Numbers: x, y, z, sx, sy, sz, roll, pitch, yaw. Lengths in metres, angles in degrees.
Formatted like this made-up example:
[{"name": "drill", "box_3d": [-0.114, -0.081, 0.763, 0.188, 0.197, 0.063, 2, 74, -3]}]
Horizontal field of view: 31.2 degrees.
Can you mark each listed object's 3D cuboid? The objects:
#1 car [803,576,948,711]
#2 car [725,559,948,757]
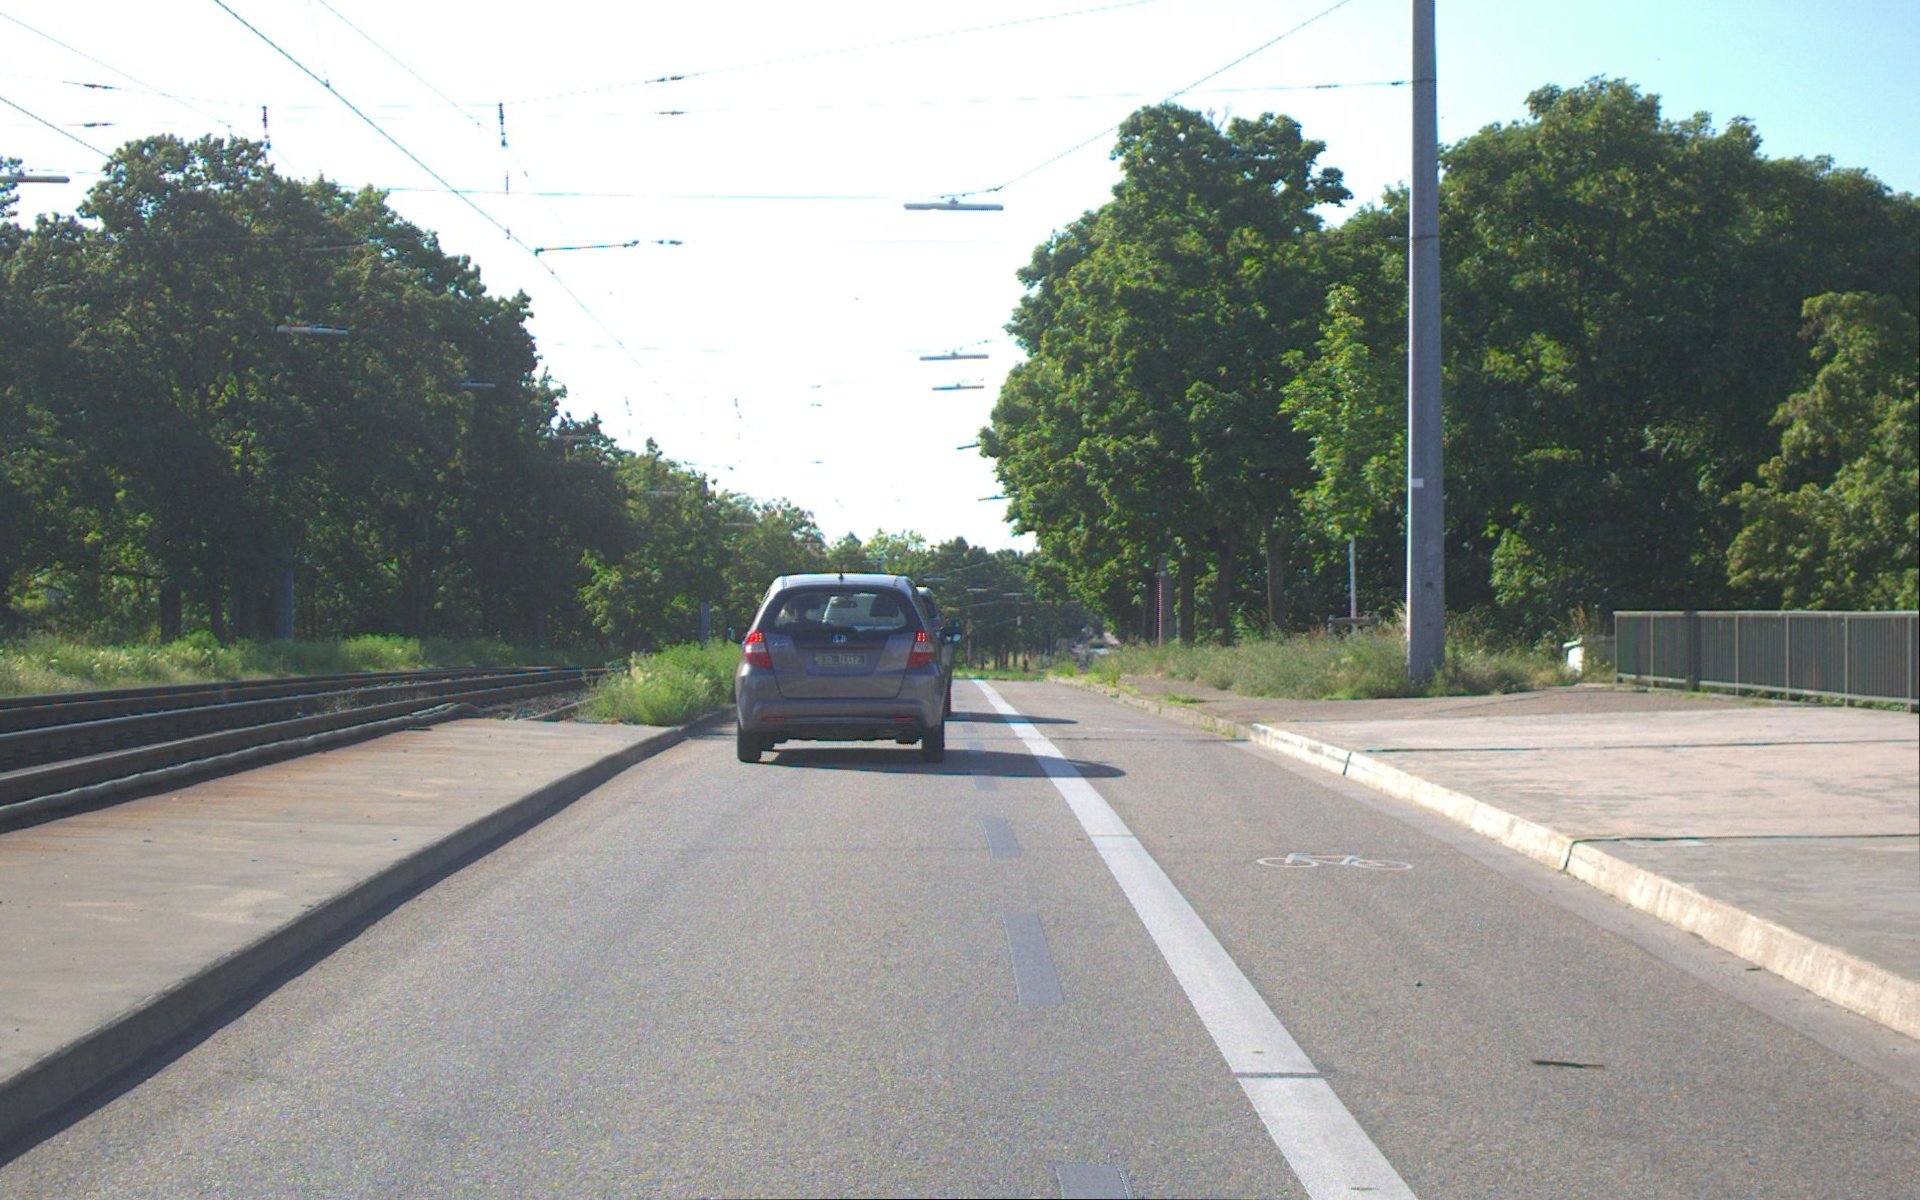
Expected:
[{"name": "car", "box_3d": [-1.010, 0.506, 42.658, 1.654, 1.502, 3.811, 1, 1, 0]}, {"name": "car", "box_3d": [-0.966, 0.464, 28.703, 1.670, 1.502, 3.811, 1, 0, 0]}]
